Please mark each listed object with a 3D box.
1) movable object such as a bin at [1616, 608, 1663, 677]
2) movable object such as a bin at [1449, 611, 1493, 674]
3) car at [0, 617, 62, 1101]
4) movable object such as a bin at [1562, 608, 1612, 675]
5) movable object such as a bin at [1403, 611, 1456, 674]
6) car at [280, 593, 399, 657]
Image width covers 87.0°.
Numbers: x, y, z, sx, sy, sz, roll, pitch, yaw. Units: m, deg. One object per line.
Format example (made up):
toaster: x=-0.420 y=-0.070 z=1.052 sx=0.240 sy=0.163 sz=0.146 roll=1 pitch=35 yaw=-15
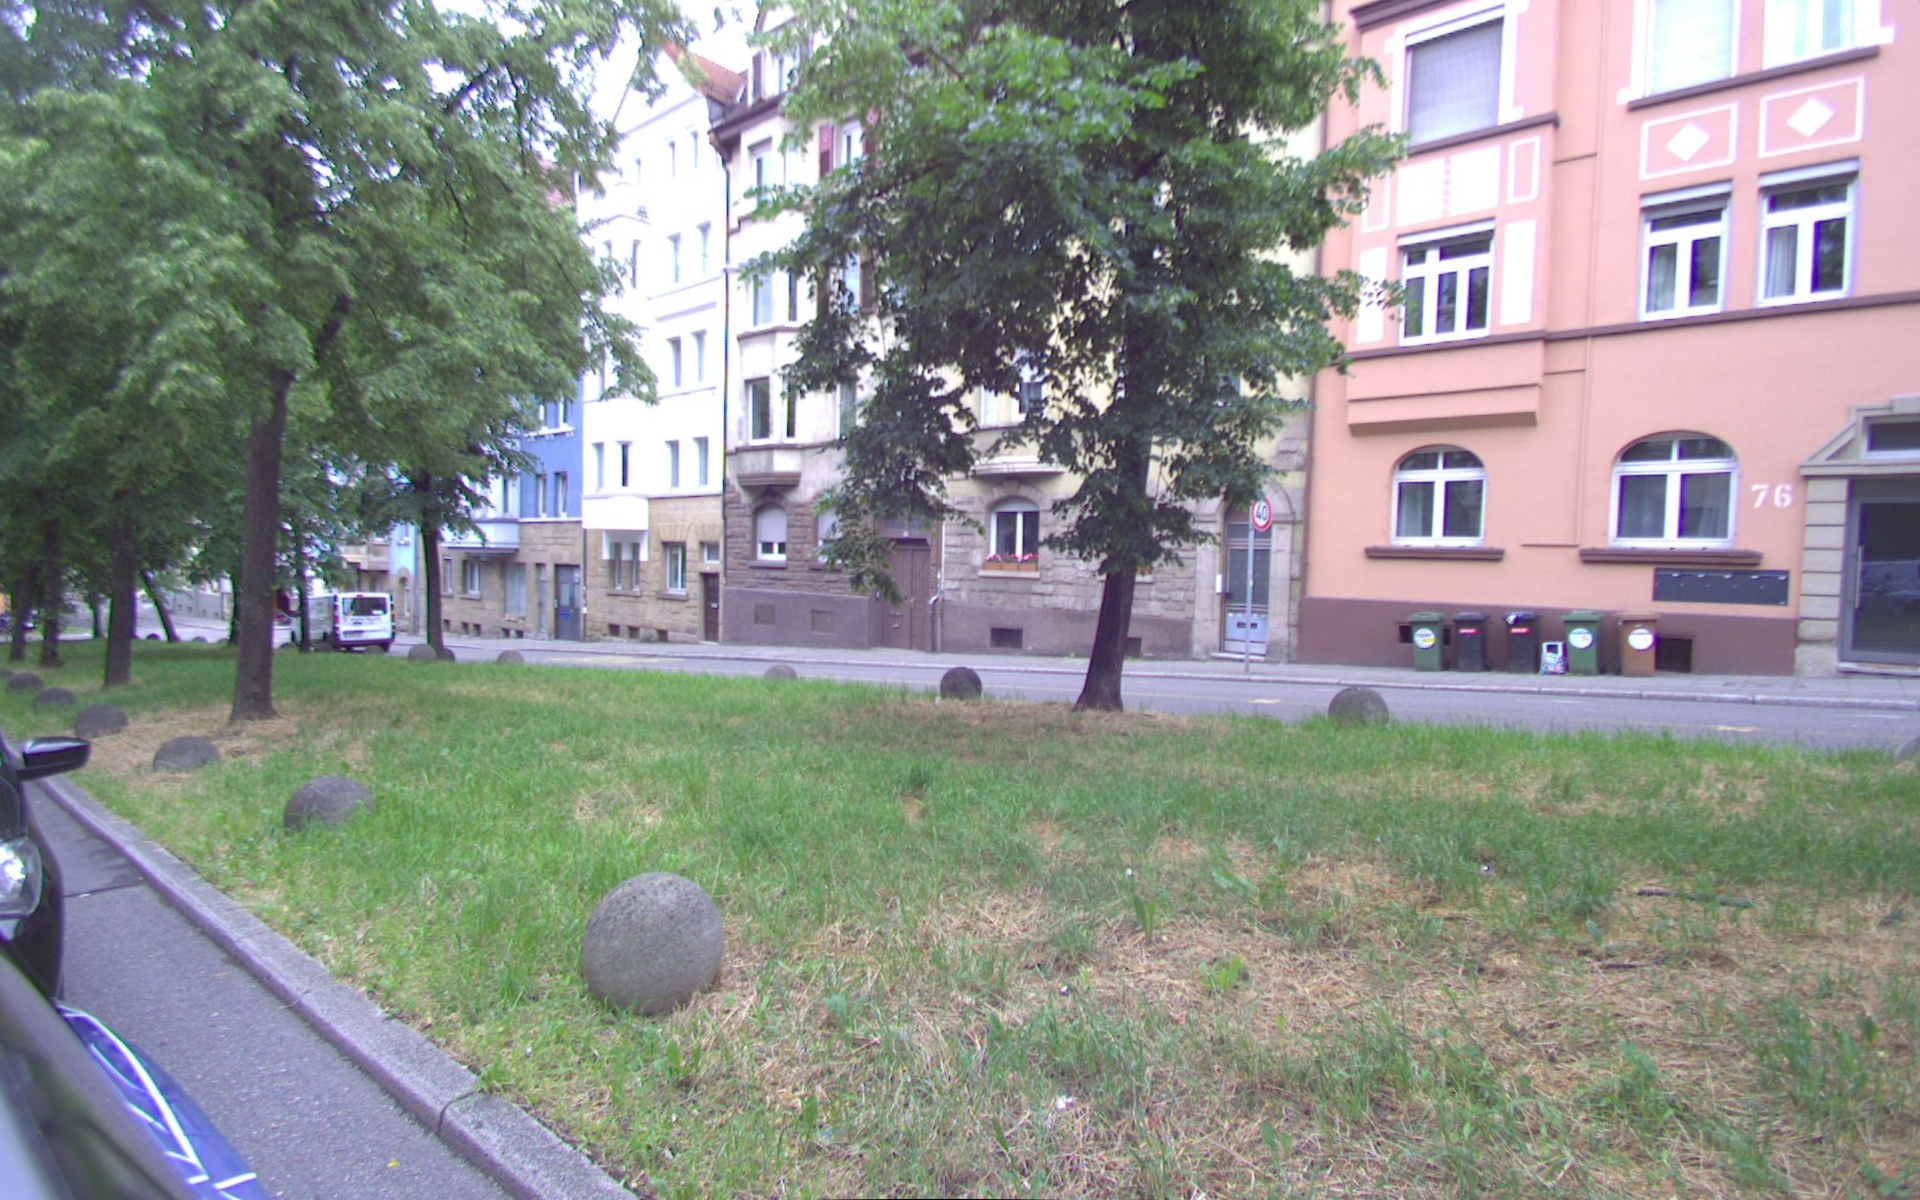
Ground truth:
movable object such as a bin: x=9.636 y=0.586 z=14.348 sx=0.514 sy=0.928 sz=0.750 roll=-1 pitch=0 yaw=36
movable object such as a bin: x=7.971 y=0.653 z=15.777 sx=0.531 sy=0.953 sz=0.575 roll=-1 pitch=0 yaw=35
car: x=-4.613 y=0.791 z=3.678 sx=3.295 sy=1.476 sz=1.590 roll=-1 pitch=-2 yaw=41
movable object such as a bin: x=9.151 y=0.592 z=14.760 sx=0.558 sy=0.928 sz=0.648 roll=-1 pitch=0 yaw=36
movable object such as a bin: x=7.488 y=0.666 z=16.145 sx=0.617 sy=0.955 sz=0.610 roll=-1 pitch=0 yaw=40
car: x=-20.956 y=0.835 z=34.078 sx=5.306 sy=1.959 sz=1.972 roll=-2 pitch=0 yaw=42
